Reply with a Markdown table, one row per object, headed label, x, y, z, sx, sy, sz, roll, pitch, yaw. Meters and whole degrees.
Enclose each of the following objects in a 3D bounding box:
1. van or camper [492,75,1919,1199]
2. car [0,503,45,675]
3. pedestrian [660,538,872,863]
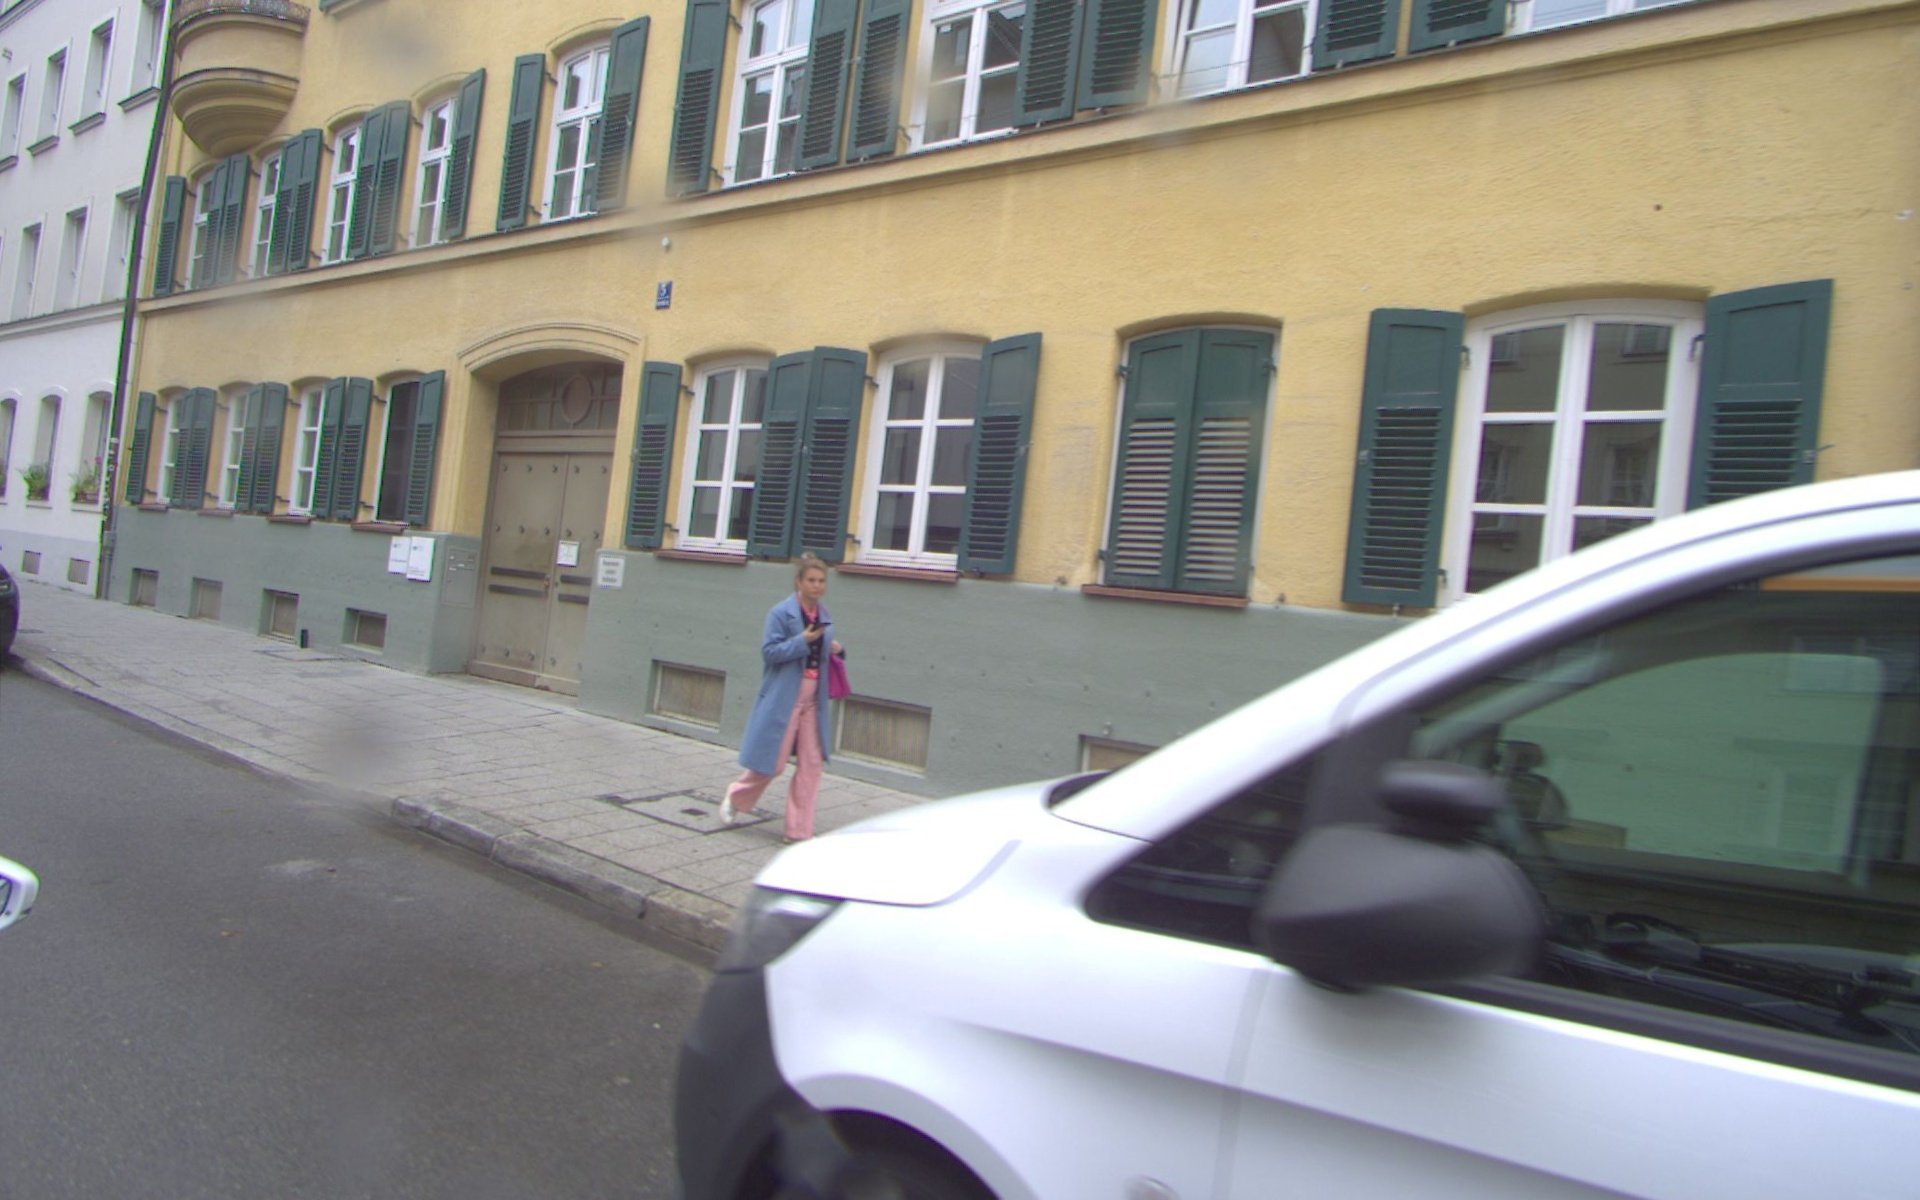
| label | x | y | z | sx | sy | sz | roll | pitch | yaw |
| --- | --- | --- | --- | --- | --- | --- | --- | --- | --- |
| van or camper | 1.910 | 0.705 | 1.344 | 5.146 | 2.037 | 1.997 | 7 | -1 | 32 |
| car | -10.295 | -0.340 | 9.234 | 3.935 | 1.481 | 1.748 | 7 | -1 | 33 |
| pedestrian | -1.112 | 0.530 | 5.766 | 0.881 | 1.661 | 0.597 | 7 | 3 | 30 |
